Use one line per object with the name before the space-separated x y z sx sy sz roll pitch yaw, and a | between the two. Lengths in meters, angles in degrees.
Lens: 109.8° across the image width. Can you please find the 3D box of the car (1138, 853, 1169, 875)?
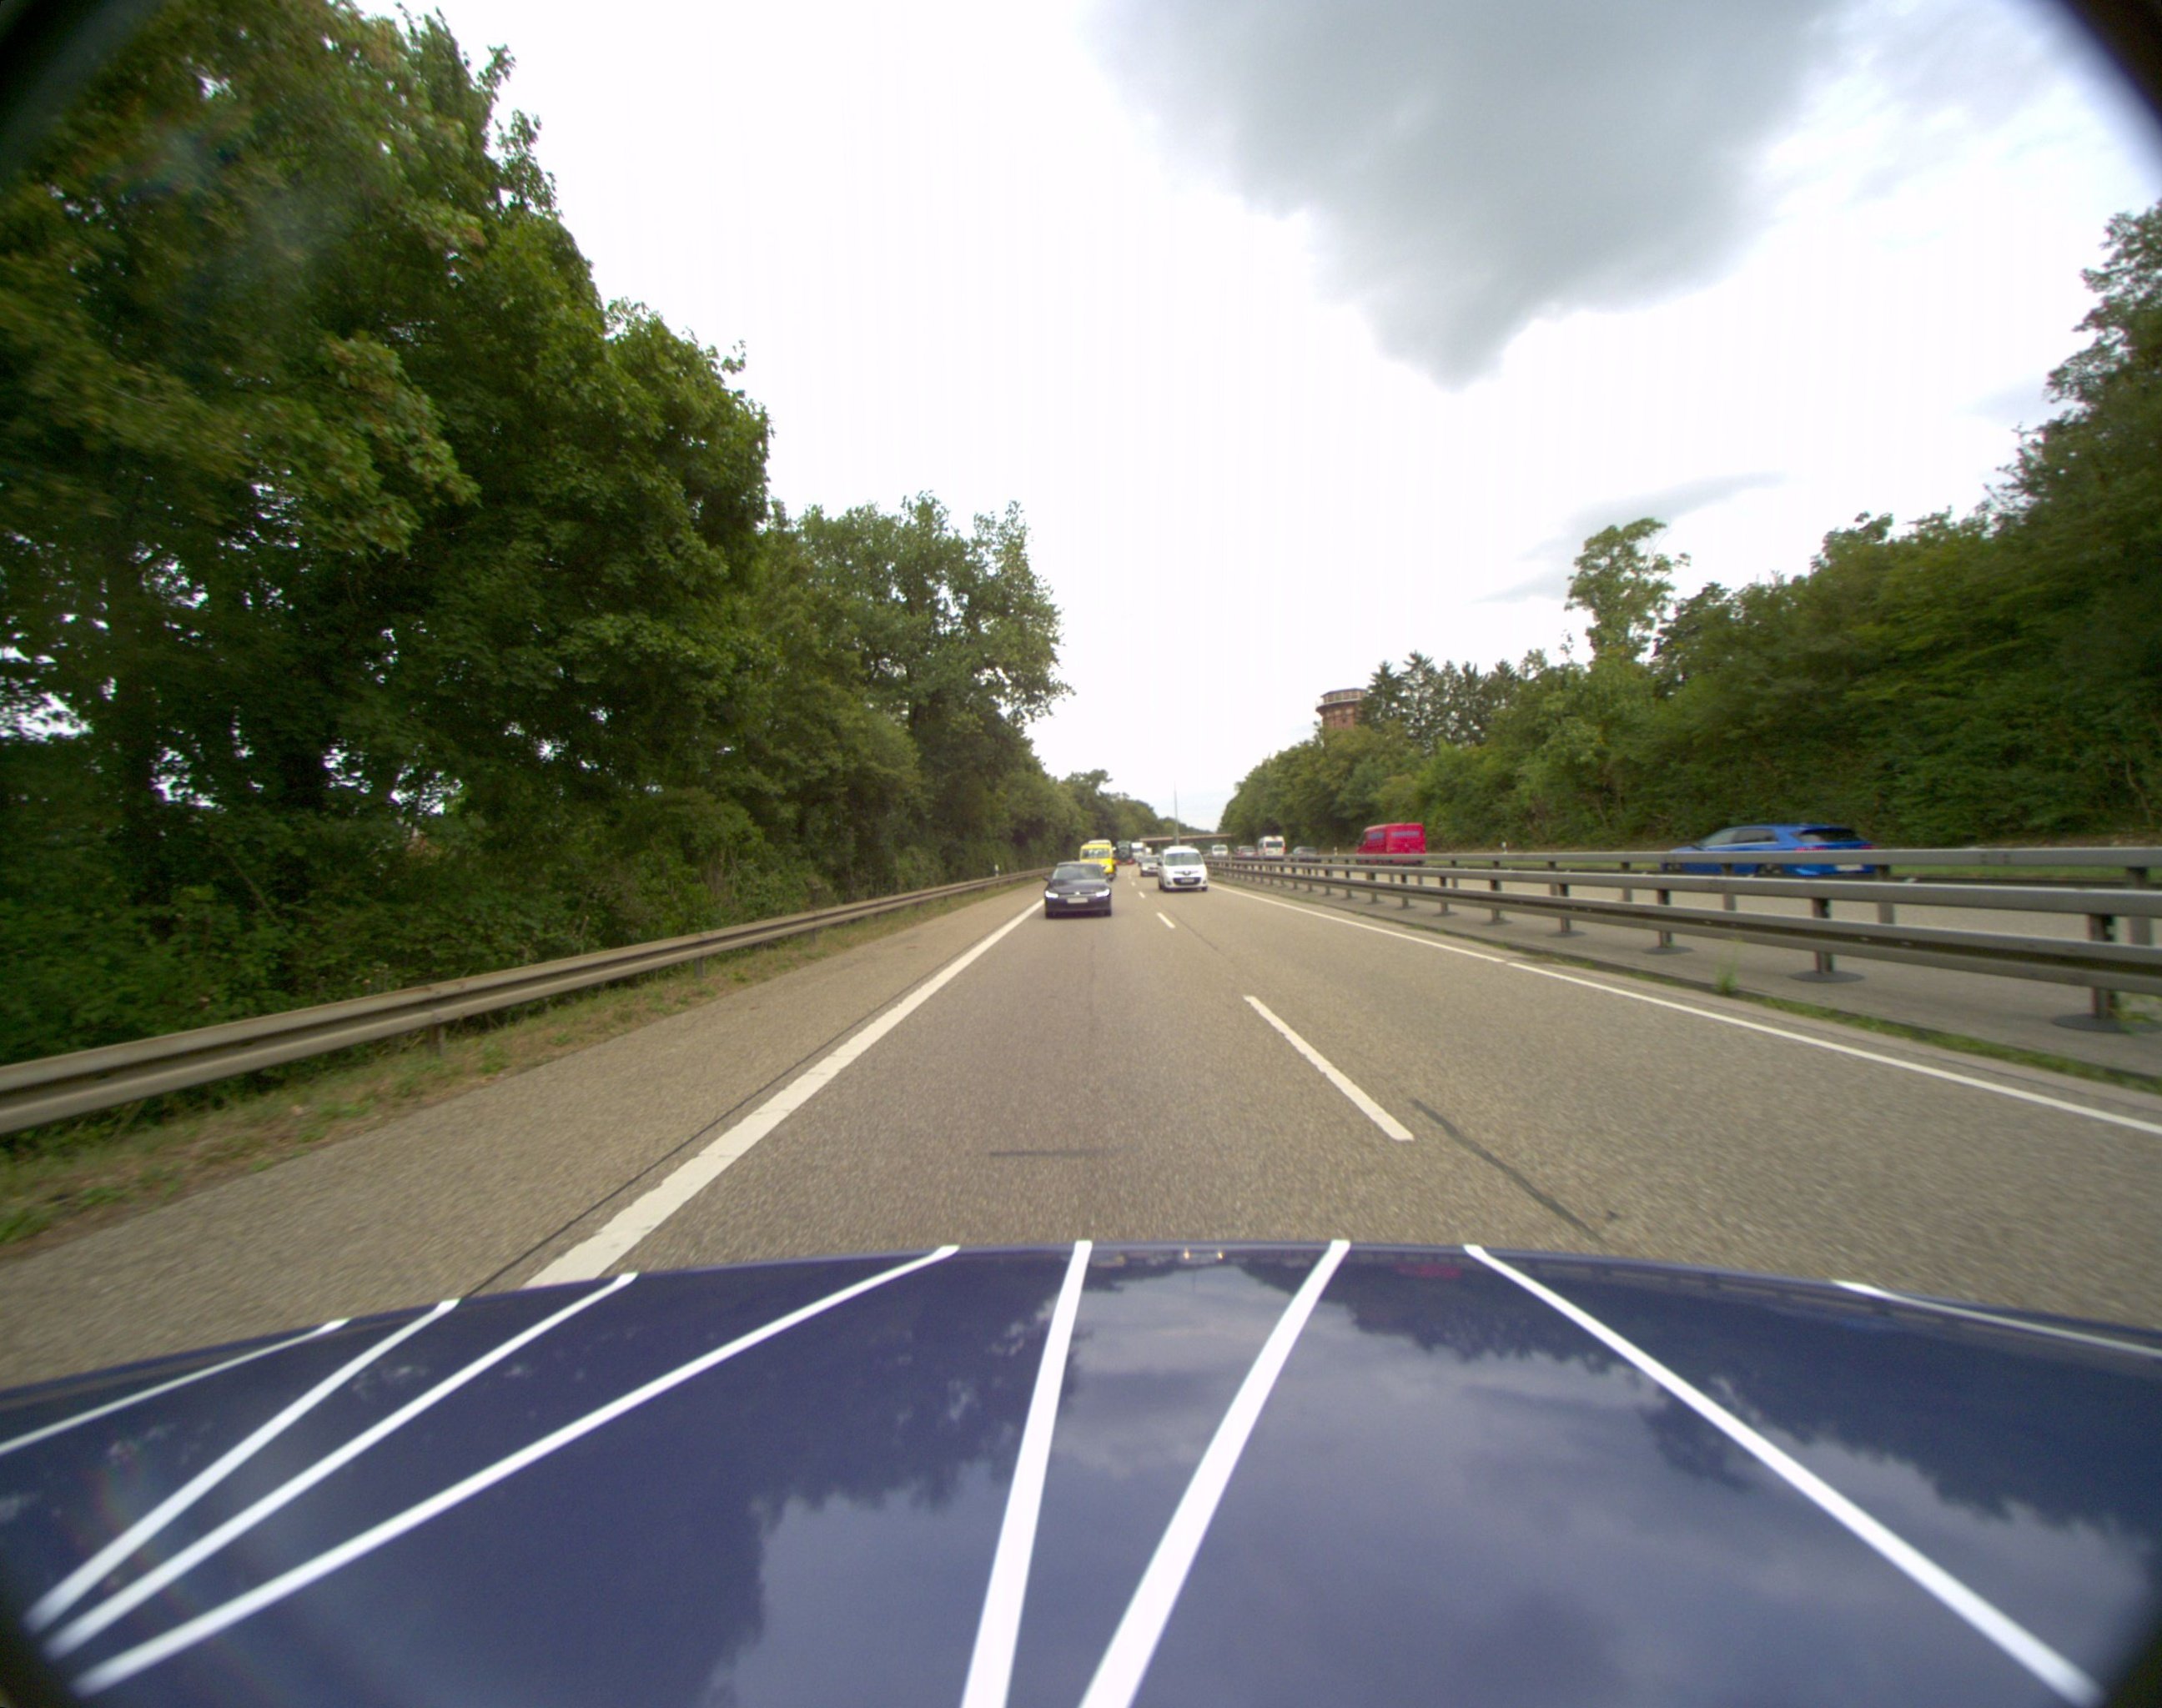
car | 5.101 0.709 53.894 1.772 1.416 4.198 -2 0 0

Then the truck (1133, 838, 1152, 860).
truck | 13.258 -1.031 162.414 3.097 4.462 12.216 -2 0 9

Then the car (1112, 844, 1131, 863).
car | 3.970 -0.051 75.445 1.678 1.763 3.937 -2 0 0

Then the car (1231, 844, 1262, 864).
car | 13.914 -0.001 63.930 1.786 1.554 4.015 -2 0 2

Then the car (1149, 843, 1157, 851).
car | 18.268 -1.785 192.015 1.679 1.840 4.002 -2 0 9

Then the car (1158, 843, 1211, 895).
car | 4.263 0.573 31.893 1.821 1.993 4.424 -2 0 3

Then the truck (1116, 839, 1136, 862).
truck | 7.390 -0.616 123.859 2.547 3.564 6.460 -2 1 9

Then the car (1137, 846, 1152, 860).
car | 8.388 -0.127 100.866 1.678 1.763 3.937 -2 0 0

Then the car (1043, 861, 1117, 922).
car | 0.020 0.949 21.178 1.800 1.398 4.639 -2 0 1

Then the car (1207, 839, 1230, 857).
car | 15.379 -0.670 85.356 1.826 1.972 5.058 -2 0 2

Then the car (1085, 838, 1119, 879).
car | 1.447 0.271 54.086 2.207 2.732 6.167 -2 0 1

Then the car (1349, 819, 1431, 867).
car | 15.719 -0.526 38.995 2.071 2.243 5.375 -2 0 1

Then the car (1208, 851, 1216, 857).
car | 35.408 0.021 205.368 1.815 1.441 4.058 -2 0 5

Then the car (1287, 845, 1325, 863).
car | 17.553 0.010 59.412 1.779 1.289 4.107 -2 0 1

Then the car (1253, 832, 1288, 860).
car | 19.148 -0.800 77.095 2.317 2.596 5.553 -2 0 2

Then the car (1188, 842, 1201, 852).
car | 21.887 -1.301 146.676 2.039 1.793 5.124 -2 0 4

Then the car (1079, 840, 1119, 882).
car | 1.046 0.369 45.639 2.248 2.334 5.224 -2 0 0

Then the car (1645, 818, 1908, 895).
car | 15.707 0.042 17.592 1.998 1.501 4.505 -2 0 1
